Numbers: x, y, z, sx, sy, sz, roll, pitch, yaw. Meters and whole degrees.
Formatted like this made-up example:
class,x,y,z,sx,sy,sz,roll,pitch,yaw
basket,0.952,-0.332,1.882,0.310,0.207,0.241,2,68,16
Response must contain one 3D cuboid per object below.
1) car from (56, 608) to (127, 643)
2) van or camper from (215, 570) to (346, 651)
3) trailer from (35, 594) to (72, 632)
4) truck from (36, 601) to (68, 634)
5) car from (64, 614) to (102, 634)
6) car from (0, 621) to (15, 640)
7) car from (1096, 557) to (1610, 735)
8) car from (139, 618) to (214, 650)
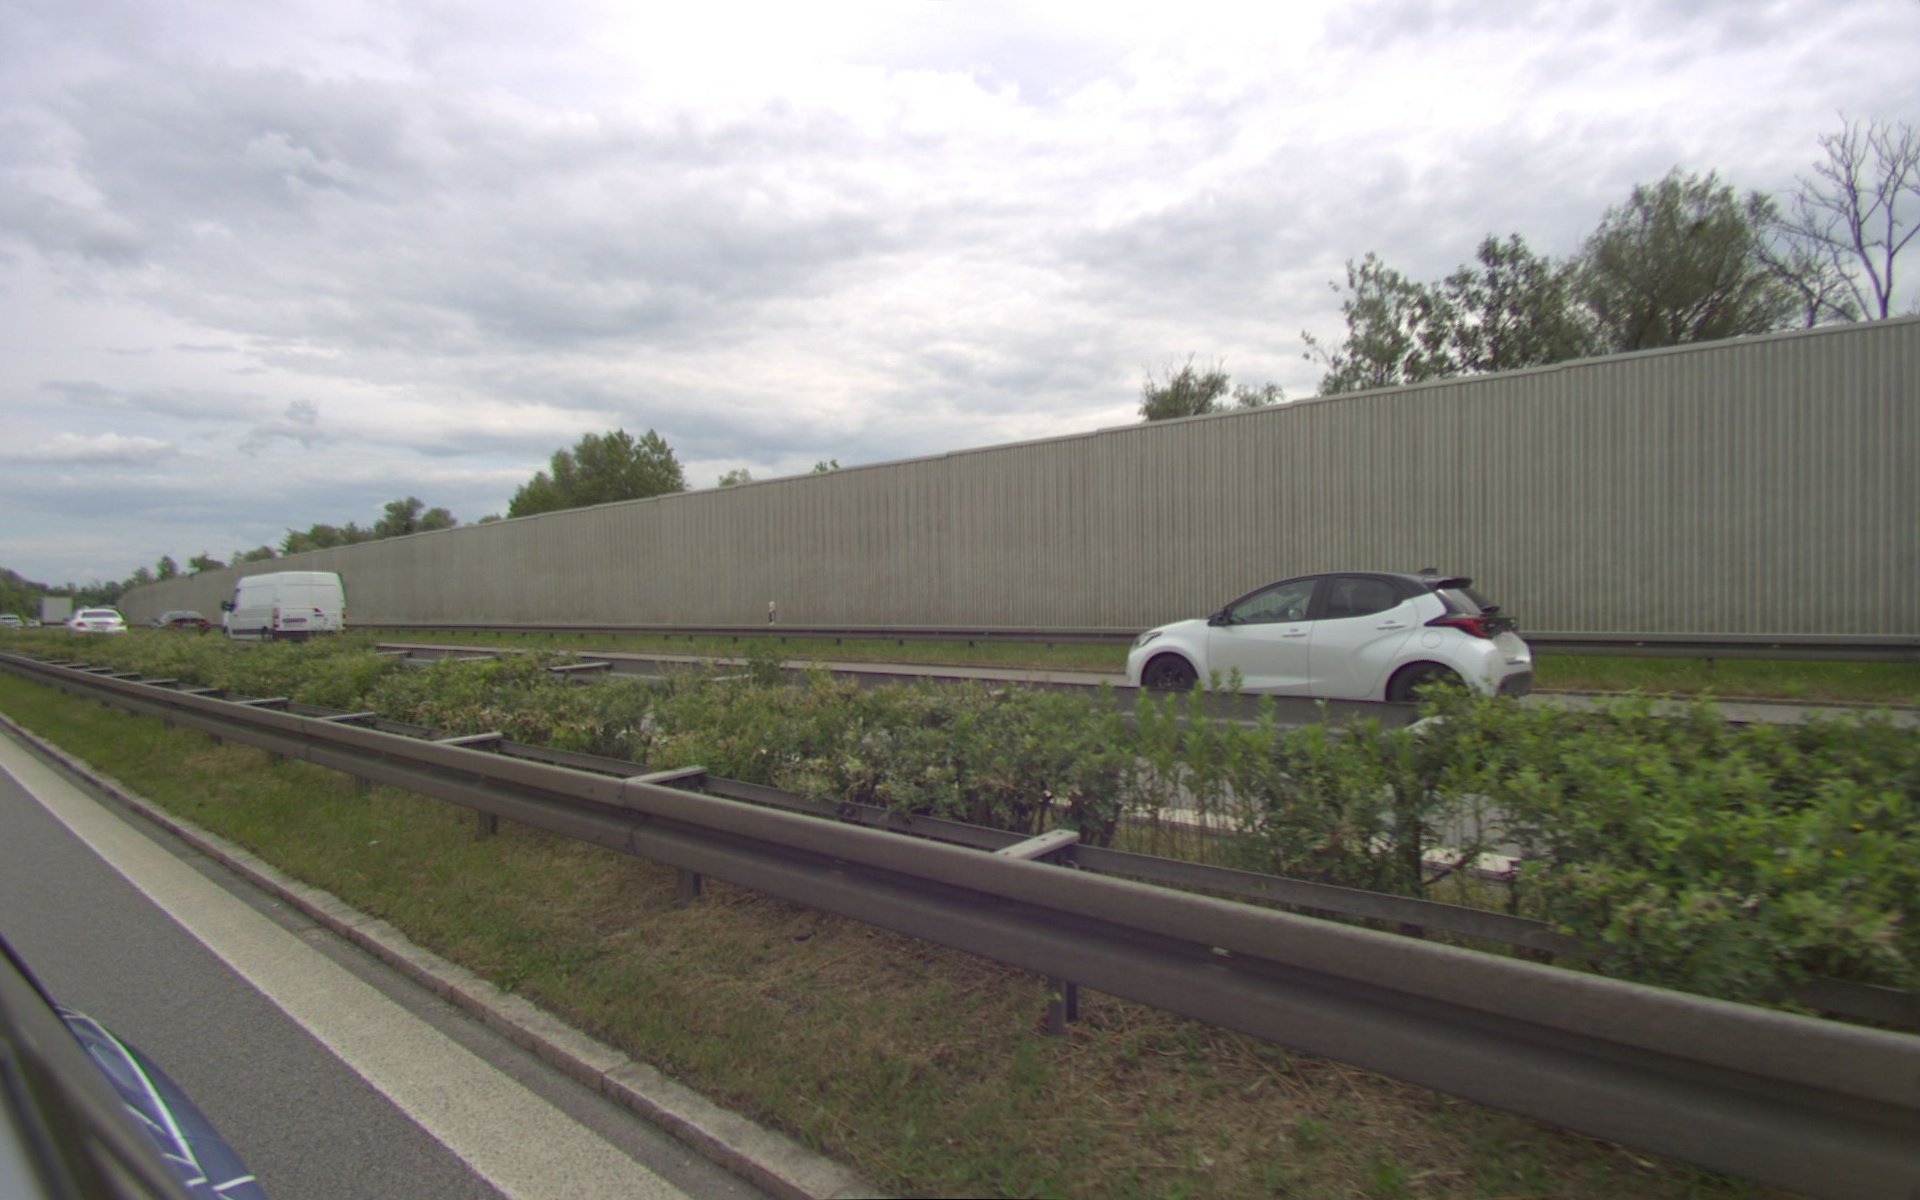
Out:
class,x,y,z,sx,sy,sz,roll,pitch,yaw
car,-37.847,1.087,44.050,4.967,1.425,1.786,-1,0,43
van or camper,-22.547,0.366,33.466,6.304,2.460,1.973,-1,-1,41
trailer,-107.984,1.556,120.480,2.946,4.272,14.193,-1,0,-43
truck,-112.518,2.164,125.371,2.839,3.888,6.081,-1,-1,-43
car,-65.654,1.801,75.709,4.555,1.428,1.703,-1,-1,43
car,-89.681,2.864,94.410,4.925,1.682,1.942,-1,0,44
car,3.770,0.403,10.238,4.497,1.414,1.845,-1,-1,41
car,-36.936,1.553,47.658,4.967,1.374,1.972,-1,0,43
